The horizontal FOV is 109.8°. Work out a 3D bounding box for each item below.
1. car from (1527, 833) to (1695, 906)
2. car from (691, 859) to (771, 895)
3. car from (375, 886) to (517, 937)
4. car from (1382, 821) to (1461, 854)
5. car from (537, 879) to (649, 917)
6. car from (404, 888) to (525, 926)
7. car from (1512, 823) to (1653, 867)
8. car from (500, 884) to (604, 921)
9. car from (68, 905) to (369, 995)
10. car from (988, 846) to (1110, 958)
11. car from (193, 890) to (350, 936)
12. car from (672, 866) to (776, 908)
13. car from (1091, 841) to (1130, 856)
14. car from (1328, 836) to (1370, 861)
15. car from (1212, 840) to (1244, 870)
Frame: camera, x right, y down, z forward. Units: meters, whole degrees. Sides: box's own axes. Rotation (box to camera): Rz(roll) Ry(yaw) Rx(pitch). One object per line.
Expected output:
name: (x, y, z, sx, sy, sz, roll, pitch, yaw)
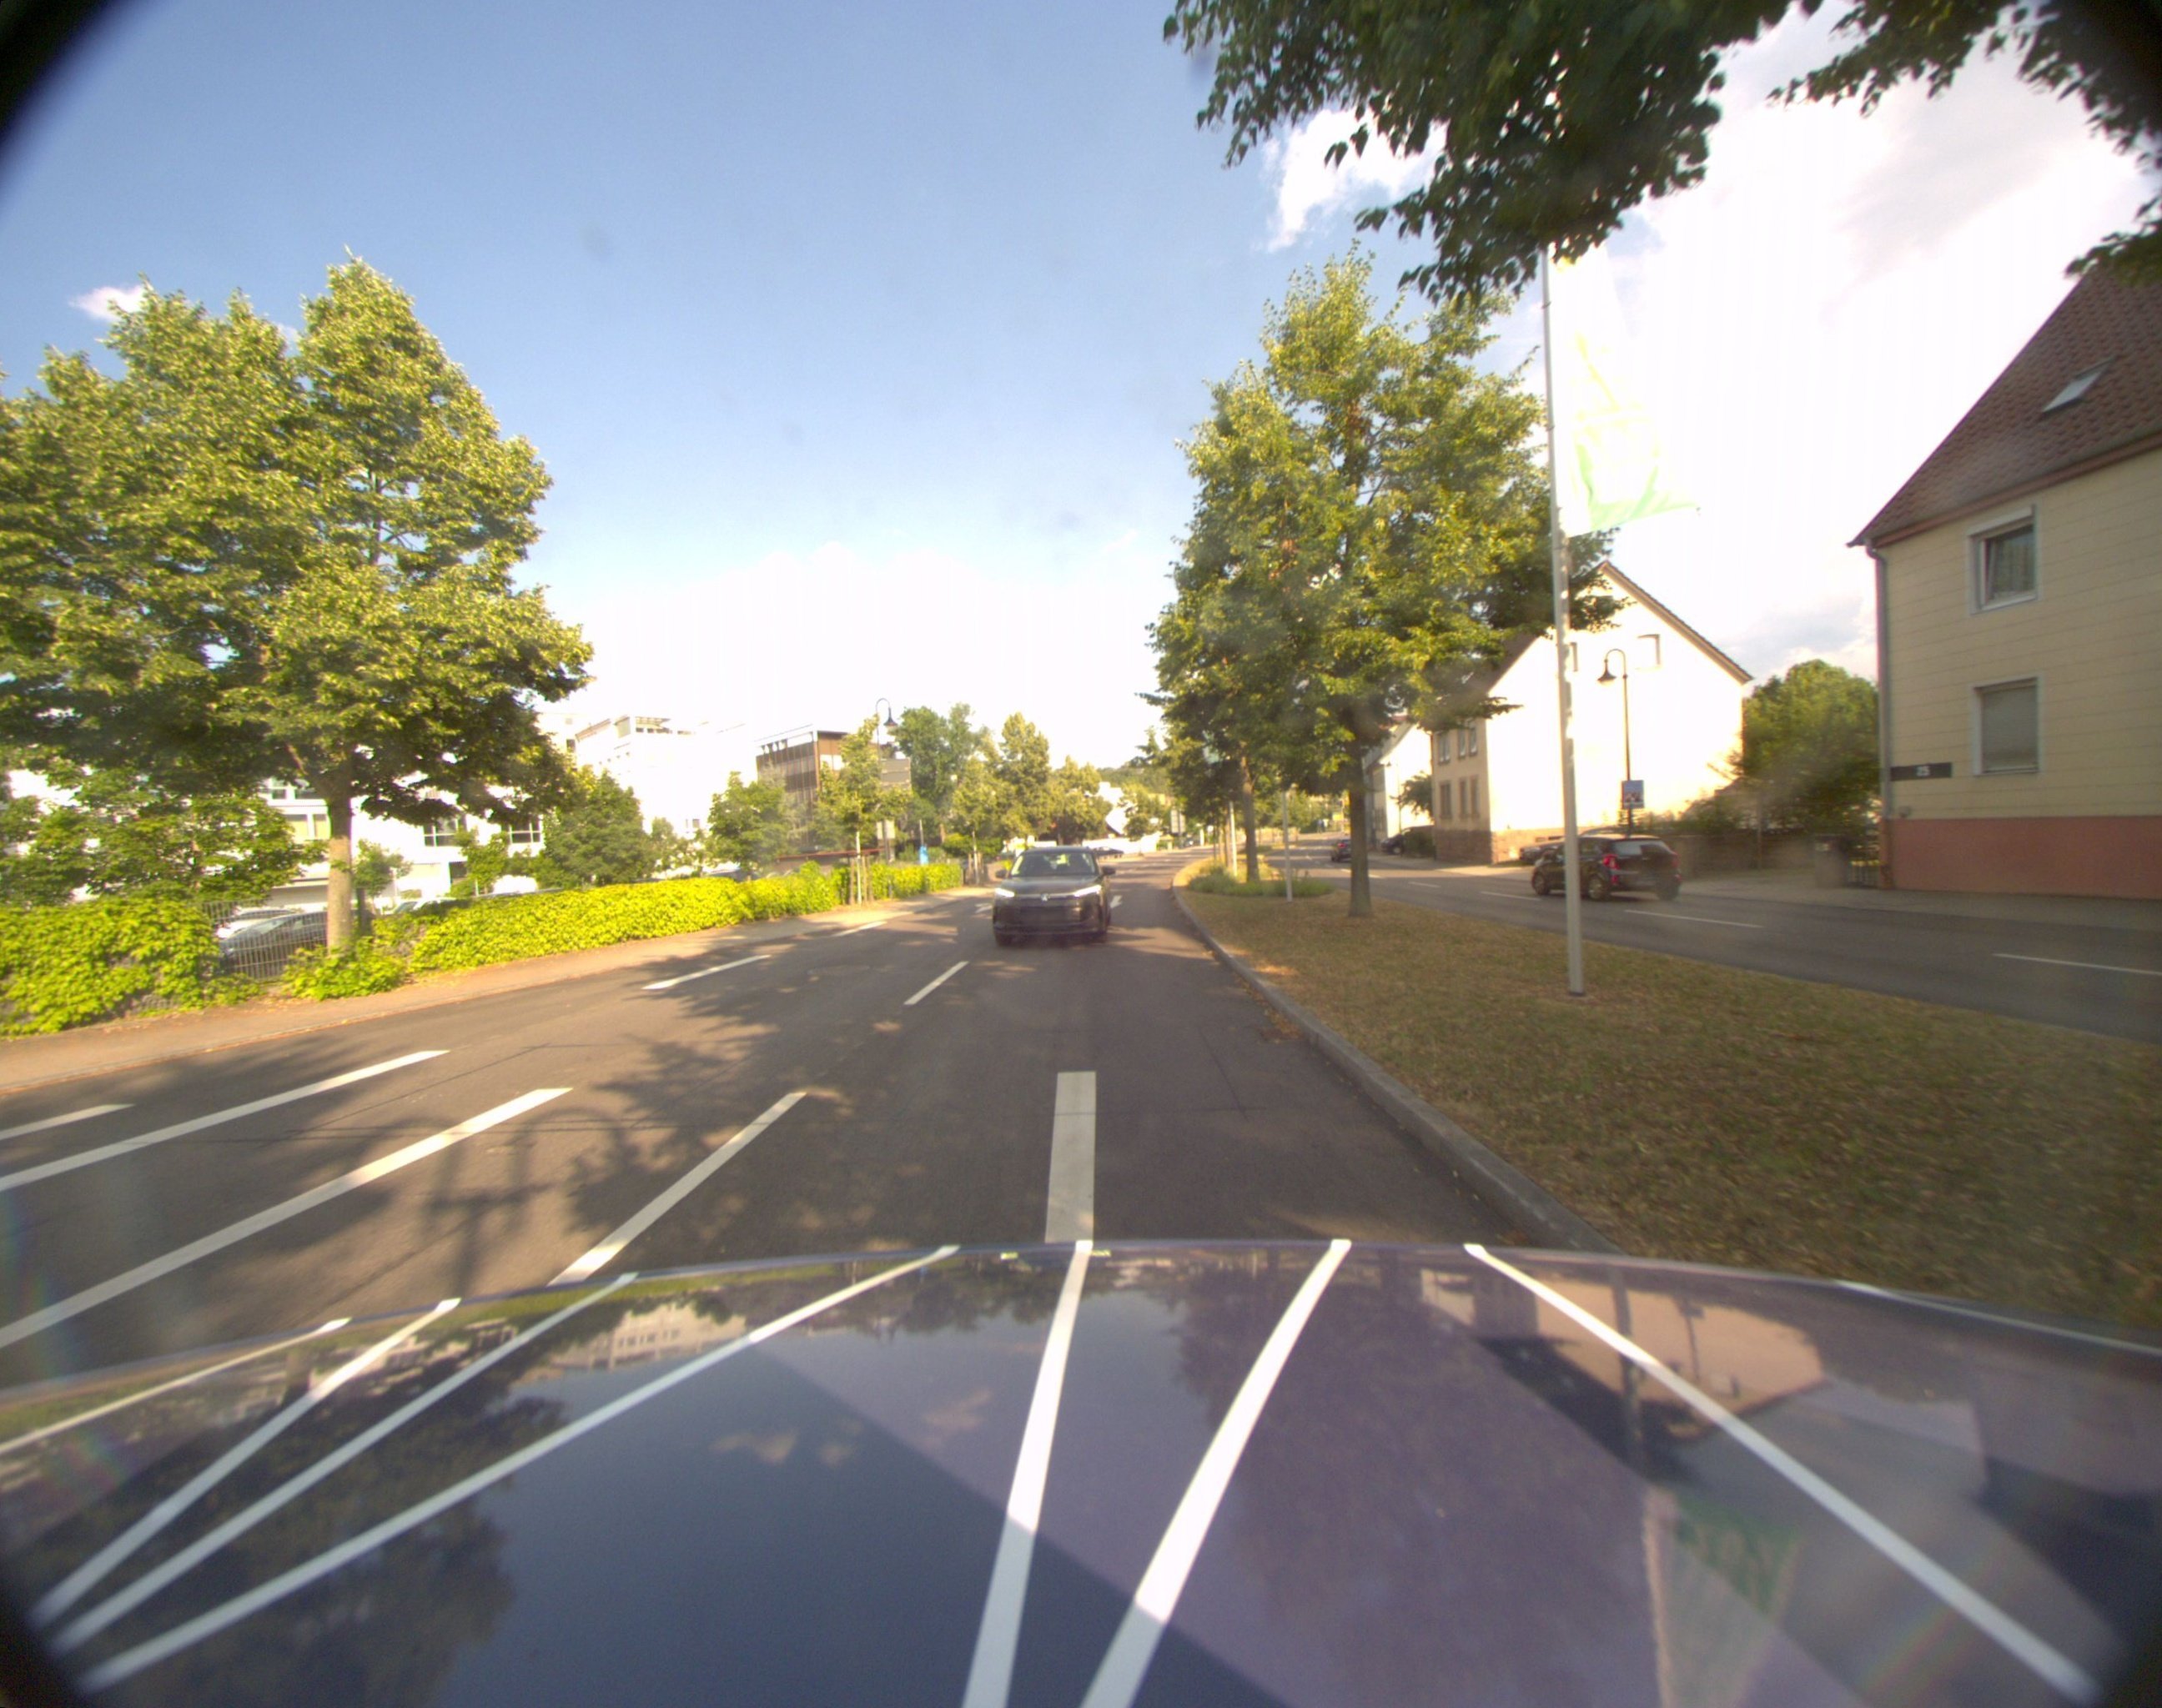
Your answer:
car: (12.201, 0.291, 17.792, 1.609, 1.477, 3.785, -2, 1, 7)
car: (-21.597, 1.368, 47.138, 1.997, 1.844, 4.650, -3, 1, 12)
car: (-27.771, 2.464, 33.439, 1.891, 1.713, 4.320, -6, 0, 17)
car: (24.062, -1.171, 53.896, 4.831, 1.866, 2.002, -5, 1, 16)
car: (-24.114, 2.146, 37.772, 1.997, 1.435, 4.551, -3, 1, 12)
car: (-31.288, 2.661, 38.785, 1.876, 1.435, 4.551, -3, 1, 12)
car: (20.001, -0.376, 30.547, 4.351, 1.477, 2.014, -3, 1, 21)
car: (-26.696, 2.396, 38.501, 1.997, 1.435, 3.955, -3, 1, 12)
car: (-21.396, 2.303, 19.209, 1.997, 1.530, 4.551, -3, 1, 12)
car: (-0.400, 0.707, 13.606, 1.725, 1.605, 4.261, -2, 1, 3)
car: (-37.868, 2.725, 35.705, 1.996, 1.638, 4.554, -3, 1, 22)
car: (-16.726, 1.494, 35.932, 1.997, 1.523, 4.551, -5, 1, 12)
car: (3.231, -0.623, 83.752, 3.830, 1.412, 1.940, -3, 1, 17)
car: (17.200, -0.409, 48.921, 1.943, 1.477, 4.328, -2, 1, 12)
car: (8.100, 0.028, 41.691, 1.542, 1.477, 3.433, -2, 1, 13)
